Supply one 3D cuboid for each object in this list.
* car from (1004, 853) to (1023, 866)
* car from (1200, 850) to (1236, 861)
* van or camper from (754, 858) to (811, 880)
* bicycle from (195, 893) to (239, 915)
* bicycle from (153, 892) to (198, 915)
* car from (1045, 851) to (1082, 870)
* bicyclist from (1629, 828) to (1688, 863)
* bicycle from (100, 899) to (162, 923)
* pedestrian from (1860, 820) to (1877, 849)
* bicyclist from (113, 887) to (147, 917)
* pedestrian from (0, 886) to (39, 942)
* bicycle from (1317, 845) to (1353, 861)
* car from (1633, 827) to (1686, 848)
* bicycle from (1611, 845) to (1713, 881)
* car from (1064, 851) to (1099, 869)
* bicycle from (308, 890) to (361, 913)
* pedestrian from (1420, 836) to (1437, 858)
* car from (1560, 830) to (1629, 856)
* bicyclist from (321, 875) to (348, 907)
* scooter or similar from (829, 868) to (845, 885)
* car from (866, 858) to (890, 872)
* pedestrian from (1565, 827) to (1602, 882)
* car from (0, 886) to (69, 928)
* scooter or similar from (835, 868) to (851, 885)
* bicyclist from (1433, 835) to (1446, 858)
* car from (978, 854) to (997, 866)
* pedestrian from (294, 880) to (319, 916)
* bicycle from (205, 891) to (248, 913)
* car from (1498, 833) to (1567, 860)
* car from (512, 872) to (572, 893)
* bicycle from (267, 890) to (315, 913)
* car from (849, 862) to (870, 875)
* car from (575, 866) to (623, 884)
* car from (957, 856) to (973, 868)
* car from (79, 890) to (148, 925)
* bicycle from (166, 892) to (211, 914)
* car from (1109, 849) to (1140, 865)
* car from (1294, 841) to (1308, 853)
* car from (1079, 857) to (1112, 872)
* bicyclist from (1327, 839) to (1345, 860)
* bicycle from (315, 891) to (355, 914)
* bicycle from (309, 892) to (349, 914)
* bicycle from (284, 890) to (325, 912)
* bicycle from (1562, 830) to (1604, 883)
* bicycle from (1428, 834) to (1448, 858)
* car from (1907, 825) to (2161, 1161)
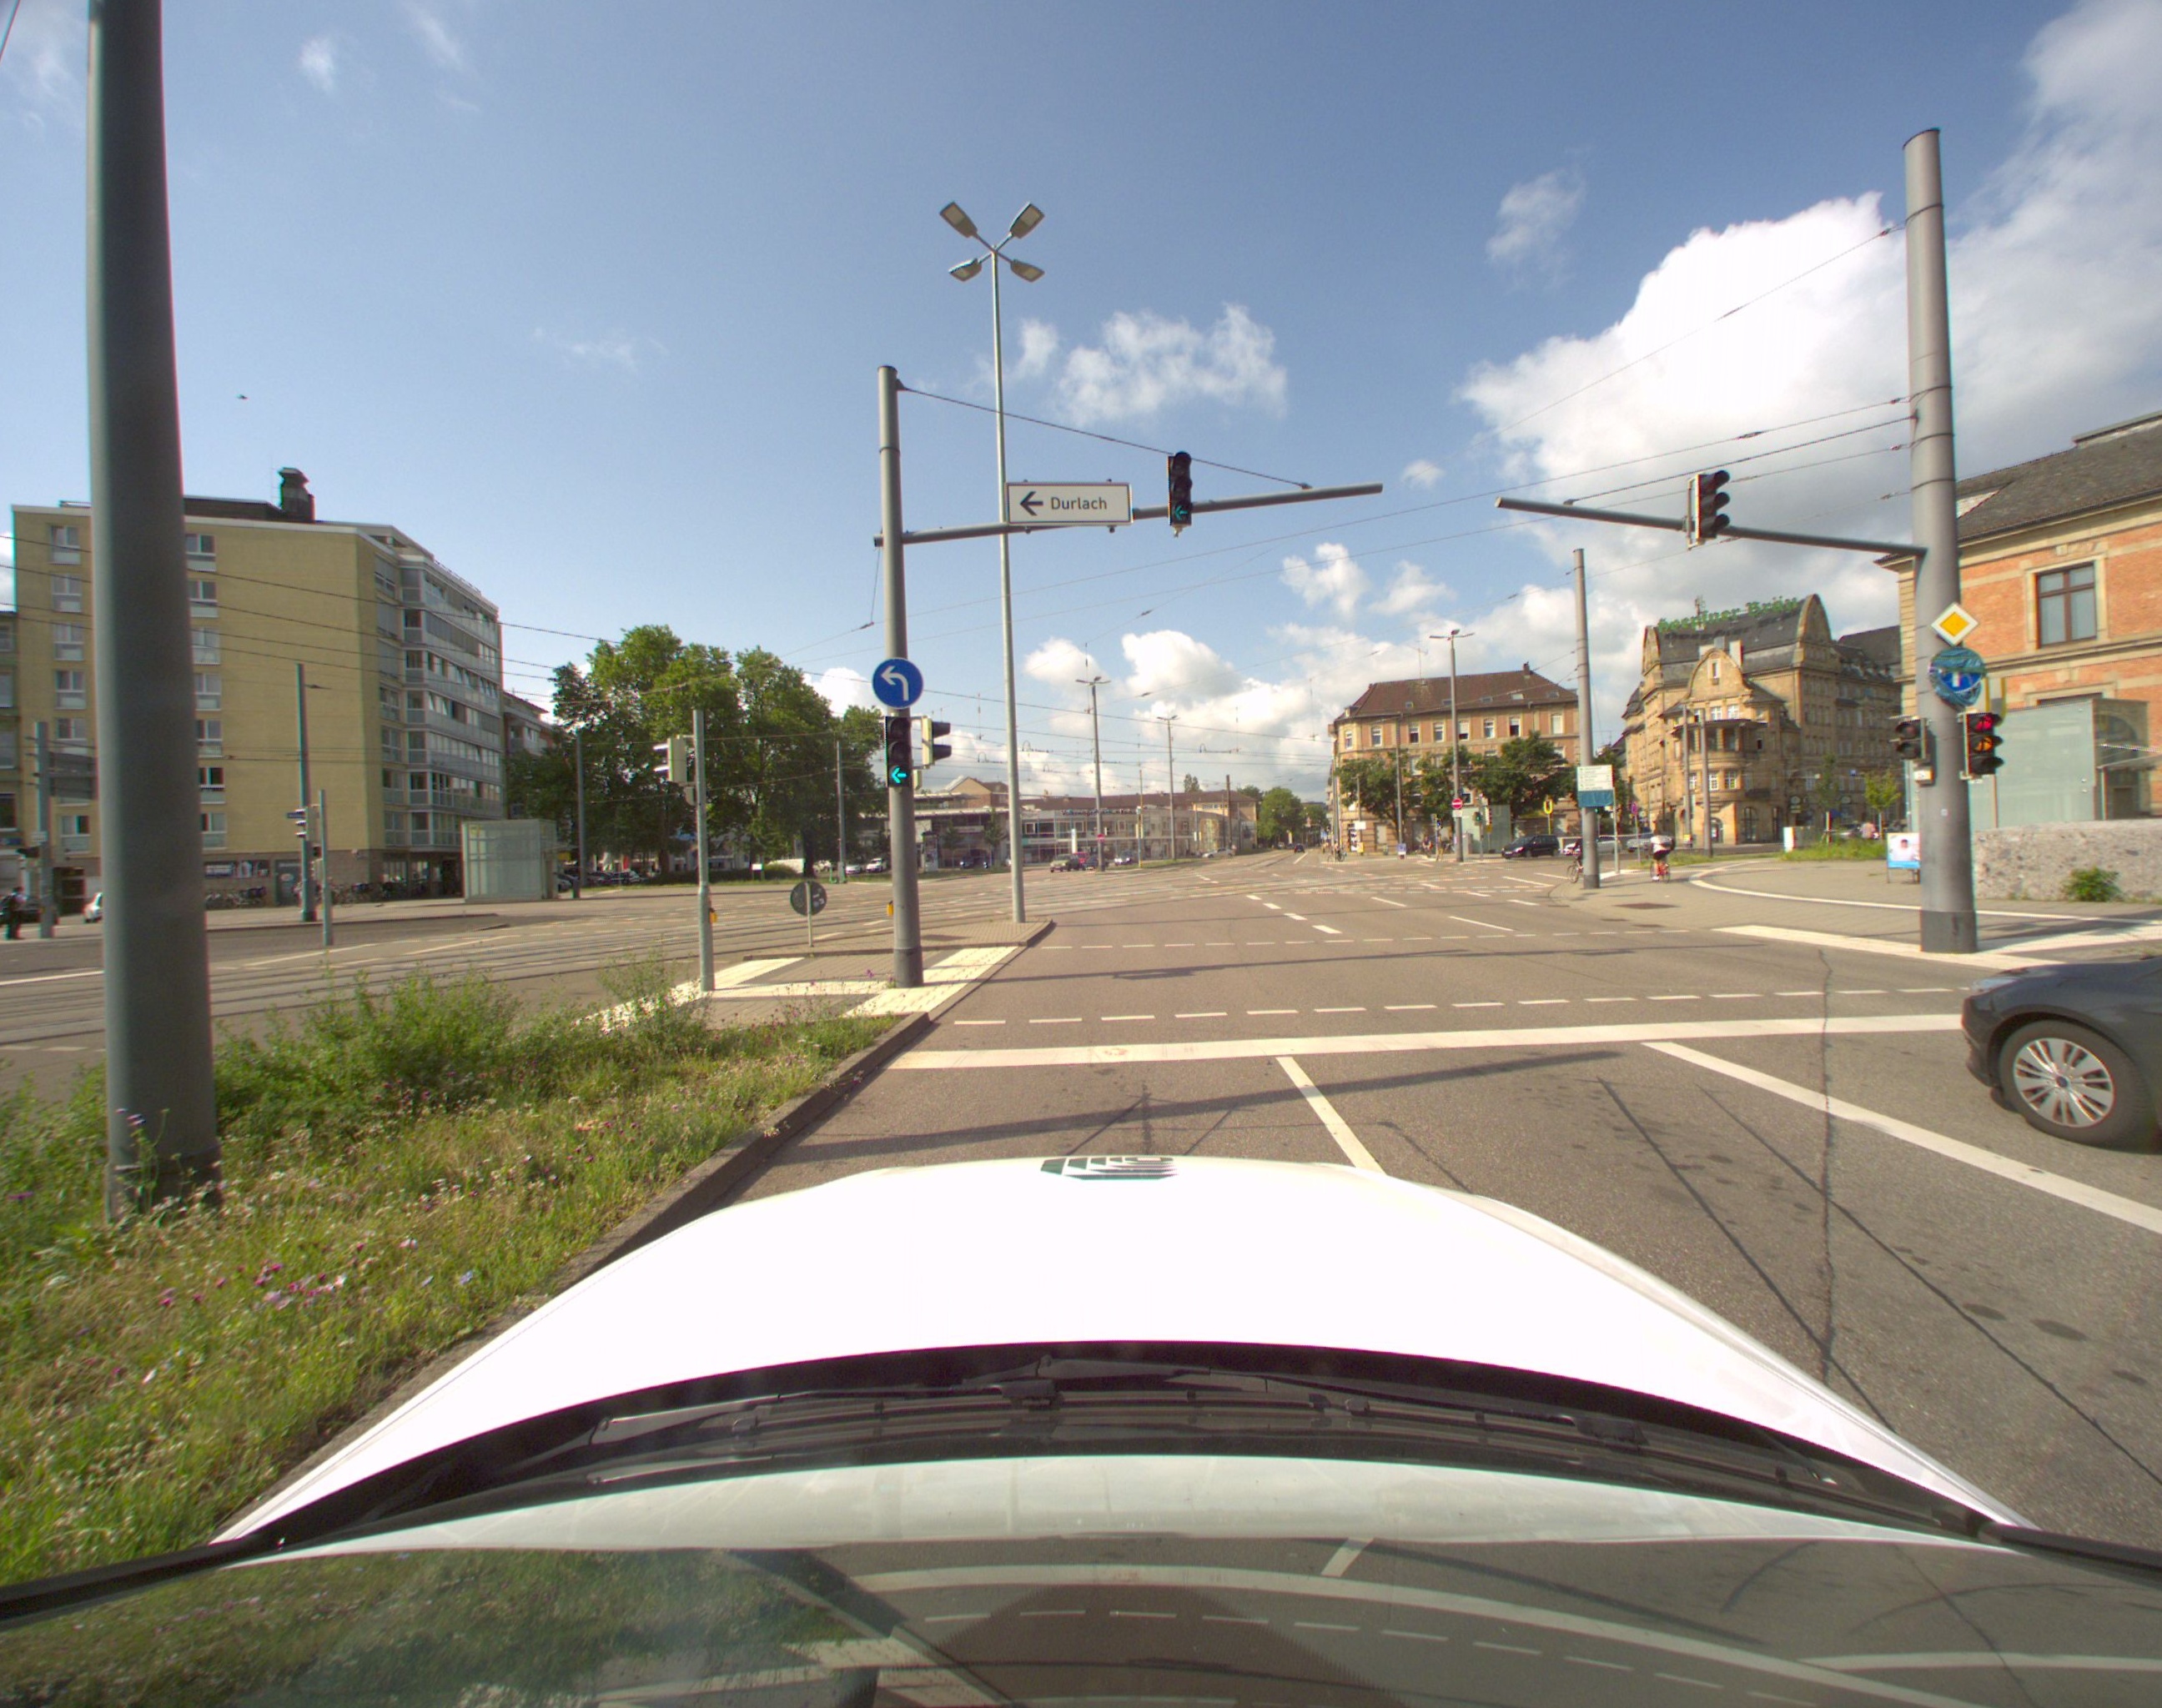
[{"bbox_3d":[-8.664,0.729,104.733,1.911,1.552,4.004,-2,0,3],"label":"car"},{"bbox_3d":[18.421,0.232,109.401,4.471,1.464,1.774,0,-1,-13],"label":"car"},{"bbox_3d":[-35.568,1.795,97.173,5.848,2.469,2.396,0,-1,5],"label":"van or camper"},{"bbox_3d":[-49.438,2.846,46.609,1.643,1.202,0.546,3,-2,-15],"label":"bicycle"},{"bbox_3d":[-51.306,2.810,46.159,1.643,1.202,0.485,3,-2,-15],"label":"bicycle"},{"bbox_3d":[-1.400,0.525,66.244,1.806,1.513,4.018,-1,-1,18],"label":"car"},{"bbox_3d":[17.841,-0.249,25.191,0.987,1.028,1.215,1,-3,1],"label":"bicyclist"},{"bbox_3d":[-50.549,3.006,43.338,1.991,1.127,0.784,-2,0,-18],"label":"bicycle"},{"bbox_3d":[40.612,-0.998,41.987,0.501,1.505,0.501,-2,0,-33],"label":"pedestrian"},{"bbox_3d":[-50.592,2.538,43.344,0.833,1.497,0.785,-2,0,-18],"label":"bicyclist"},{"bbox_3d":[-34.407,1.928,26.151,0.794,1.673,0.840,3,1,-17],"label":"pedestrian"},{"bbox_3d":[20.691,-0.094,66.388,2.664,1.170,0.900,-2,0,-1],"label":"bicycle"},{"bbox_3d":[47.557,-1.371,66.995,4.006,1.600,1.741,-2,0,-24],"label":"car"},{"bbox_3d":[17.844,0.308,25.161,0.989,1.028,3.109,1,-2,1],"label":"bicycle"},{"bbox_3d":[0.108,0.518,72.309,1.978,1.519,4.018,-1,-1,18],"label":"car"},{"bbox_3d":[-41.318,2.627,45.105,1.991,1.127,0.784,-2,0,-18],"label":"bicycle"},{"bbox_3d":[27.853,-0.553,65.317,0.865,1.810,0.884,0,-1,-10],"label":"pedestrian"},{"bbox_3d":[36.924,-0.785,58.546,4.693,1.595,1.983,-3,0,-25],"label":"car"},{"bbox_3d":[-41.382,2.042,45.136,0.828,1.745,0.707,-2,0,-20],"label":"bicyclist"},{"bbox_3d":[-16.704,1.552,55.730,0.934,1.157,0.377,3,1,-42],"label":"scooter or similar"},{"bbox_3d":[-25.973,1.419,104.209,2.062,1.604,3.997,-2,0,-2],"label":"car"},{"bbox_3d":[17.163,0.013,27.851,0.983,1.841,1.002,-1,-1,27],"label":"pedestrian"},{"bbox_3d":[-49.355,2.437,38.165,5.000,1.468,1.903,4,0,33],"label":"car"},{"bbox_3d":[-16.195,1.546,55.439,0.377,1.157,0.935,4,1,36],"label":"scooter or similar"},{"bbox_3d":[26.511,-0.536,60.233,0.571,1.671,0.656,-2,0,-2],"label":"bicyclist"},{"bbox_3d":[-11.762,0.716,102.684,1.913,1.445,3.999,-2,0,0],"label":"car"},{"bbox_3d":[-38.834,2.184,40.853,0.790,1.760,0.984,1,-3,-39],"label":"pedestrian"},{"bbox_3d":[-49.500,2.804,47.169,1.643,1.202,0.485,3,-2,-15],"label":"bicycle"},{"bbox_3d":[31.037,-0.503,55.995,4.348,1.739,1.983,0,-1,-26],"label":"car"},{"bbox_3d":[-43.158,2.278,65.255,3.570,1.530,1.989,0,-1,-16],"label":"car"},{"bbox_3d":[-46.130,2.783,47.588,1.892,1.272,0.484,4,0,-24],"label":"bicycle"},{"bbox_3d":[-28.391,1.864,104.408,1.991,1.574,3.991,0,-1,-6],"label":"car"},{"bbox_3d":[-47.031,2.005,79.536,3.611,1.594,1.659,-2,0,-12],"label":"car"},{"bbox_3d":[-14.628,1.017,103.223,1.918,1.445,3.989,-2,0,-8],"label":"car"},{"bbox_3d":[-46.687,2.551,39.299,3.467,1.440,1.730,2,-1,34],"label":"car"},{"bbox_3d":[-51.200,2.813,46.737,1.643,1.202,0.485,3,-2,-15],"label":"bicycle"},{"bbox_3d":[4.574,0.320,85.013,1.976,1.552,4.021,-2,0,21],"label":"car"},{"bbox_3d":[37.513,-1.205,138.887,1.977,2.013,4.020,-2,0,20],"label":"car"},{"bbox_3d":[1.219,0.825,65.694,1.608,1.161,4.018,-1,-1,18],"label":"car"},{"bbox_3d":[20.752,-0.358,66.348,1.190,1.658,0.785,-2,0,-1],"label":"bicyclist"},{"bbox_3d":[-44.585,2.897,48.674,1.643,1.272,0.485,3,-2,-15],"label":"bicycle"},{"bbox_3d":[-44.455,2.892,48.153,1.643,1.272,0.529,3,-2,-15],"label":"bicycle"},{"bbox_3d":[-45.965,2.787,48.206,1.643,1.272,0.485,3,-2,-15],"label":"bicycle"},{"bbox_3d":[17.123,0.095,27.857,0.996,1.725,2.483,-1,-1,27],"label":"bicycle"},{"bbox_3d":[26.472,-0.589,60.425,0.727,1.777,1.636,-2,0,-2],"label":"bicycle"},{"bbox_3d":[5.762,0.619,2.712,1.761,1.528,4.256,-1,0,1],"label":"car"}]
